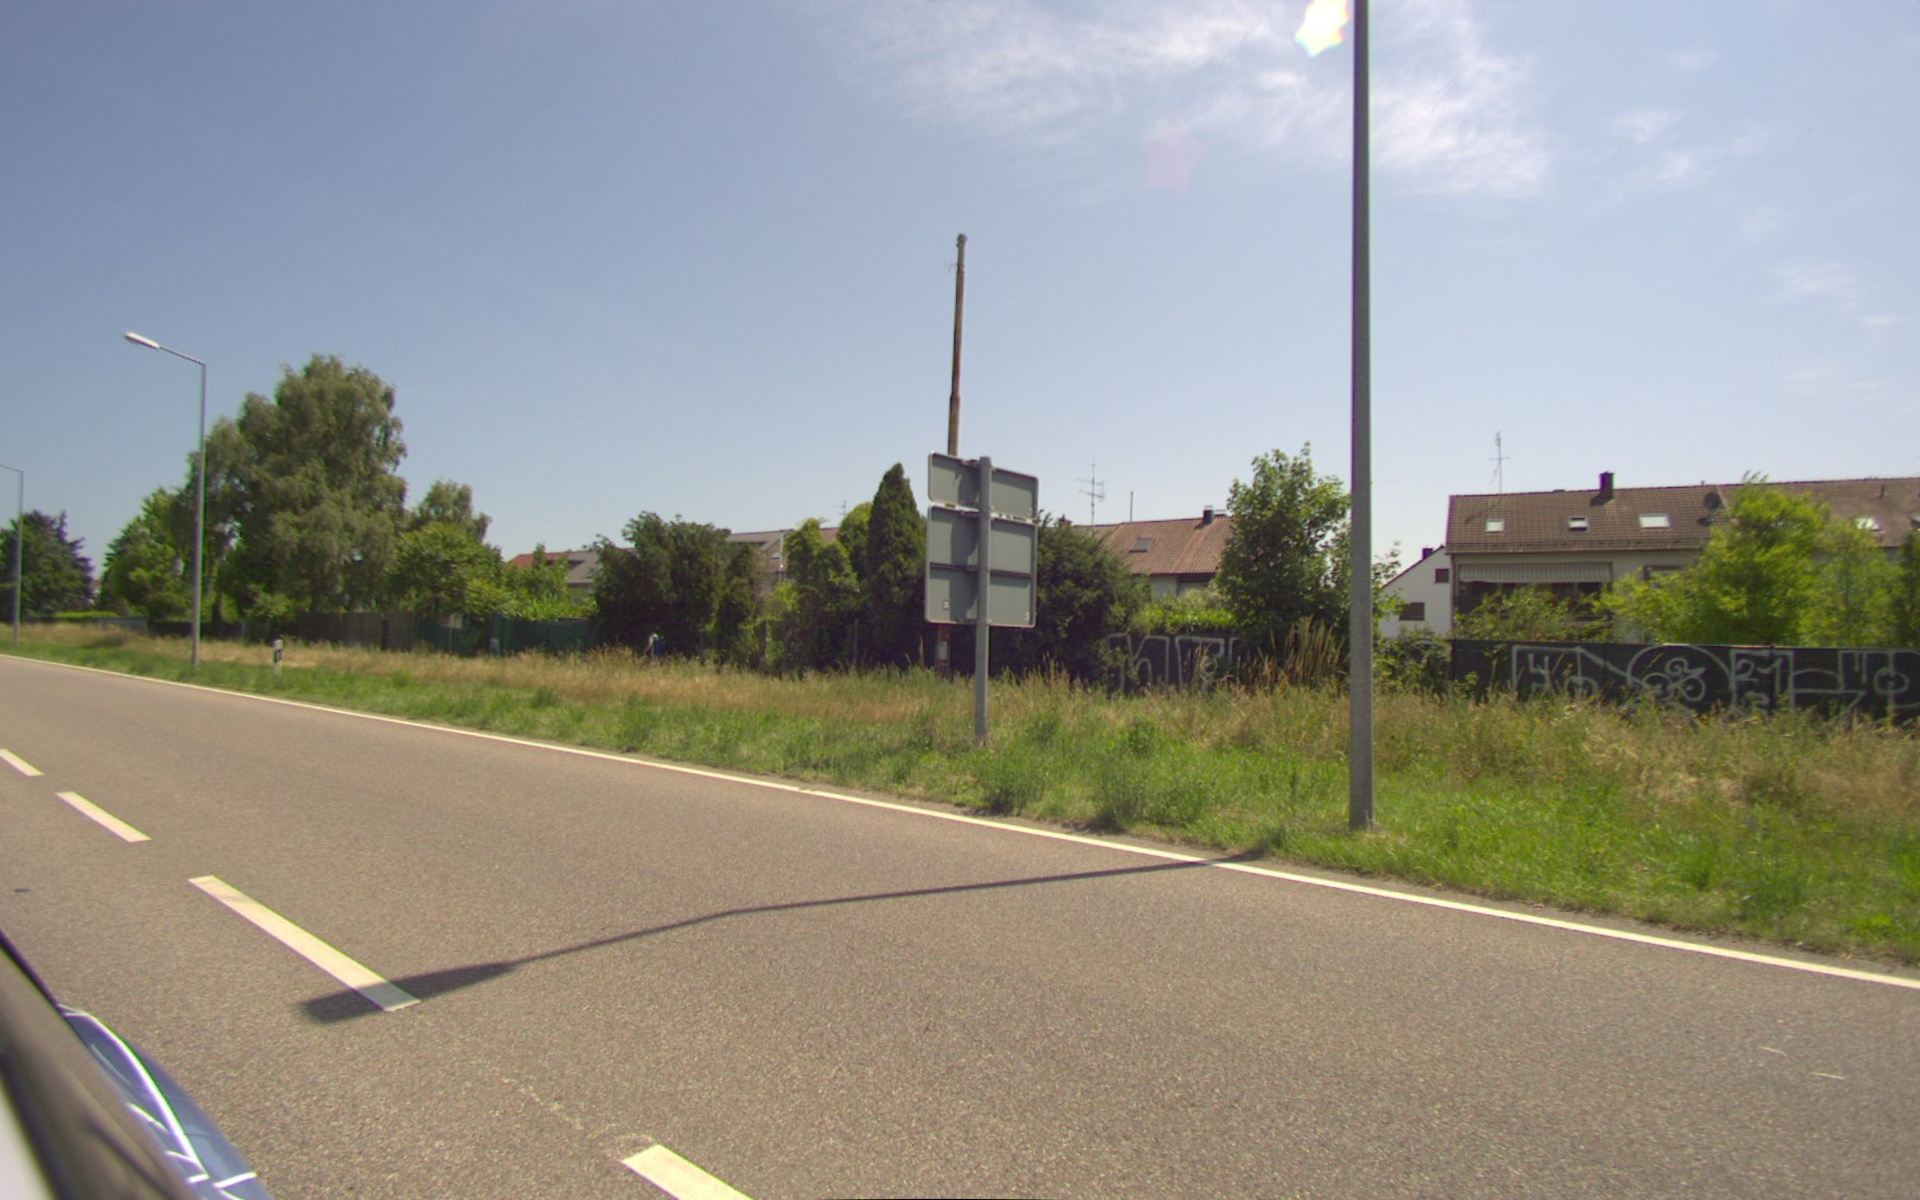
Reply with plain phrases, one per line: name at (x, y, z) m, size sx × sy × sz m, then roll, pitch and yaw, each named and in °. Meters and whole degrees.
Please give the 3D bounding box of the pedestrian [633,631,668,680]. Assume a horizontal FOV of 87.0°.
pedestrian at (-8.797, 1.566, 28.764) m, size 0.798 × 1.365 × 0.575 m, roll -1°, pitch -3°, yaw 40°
